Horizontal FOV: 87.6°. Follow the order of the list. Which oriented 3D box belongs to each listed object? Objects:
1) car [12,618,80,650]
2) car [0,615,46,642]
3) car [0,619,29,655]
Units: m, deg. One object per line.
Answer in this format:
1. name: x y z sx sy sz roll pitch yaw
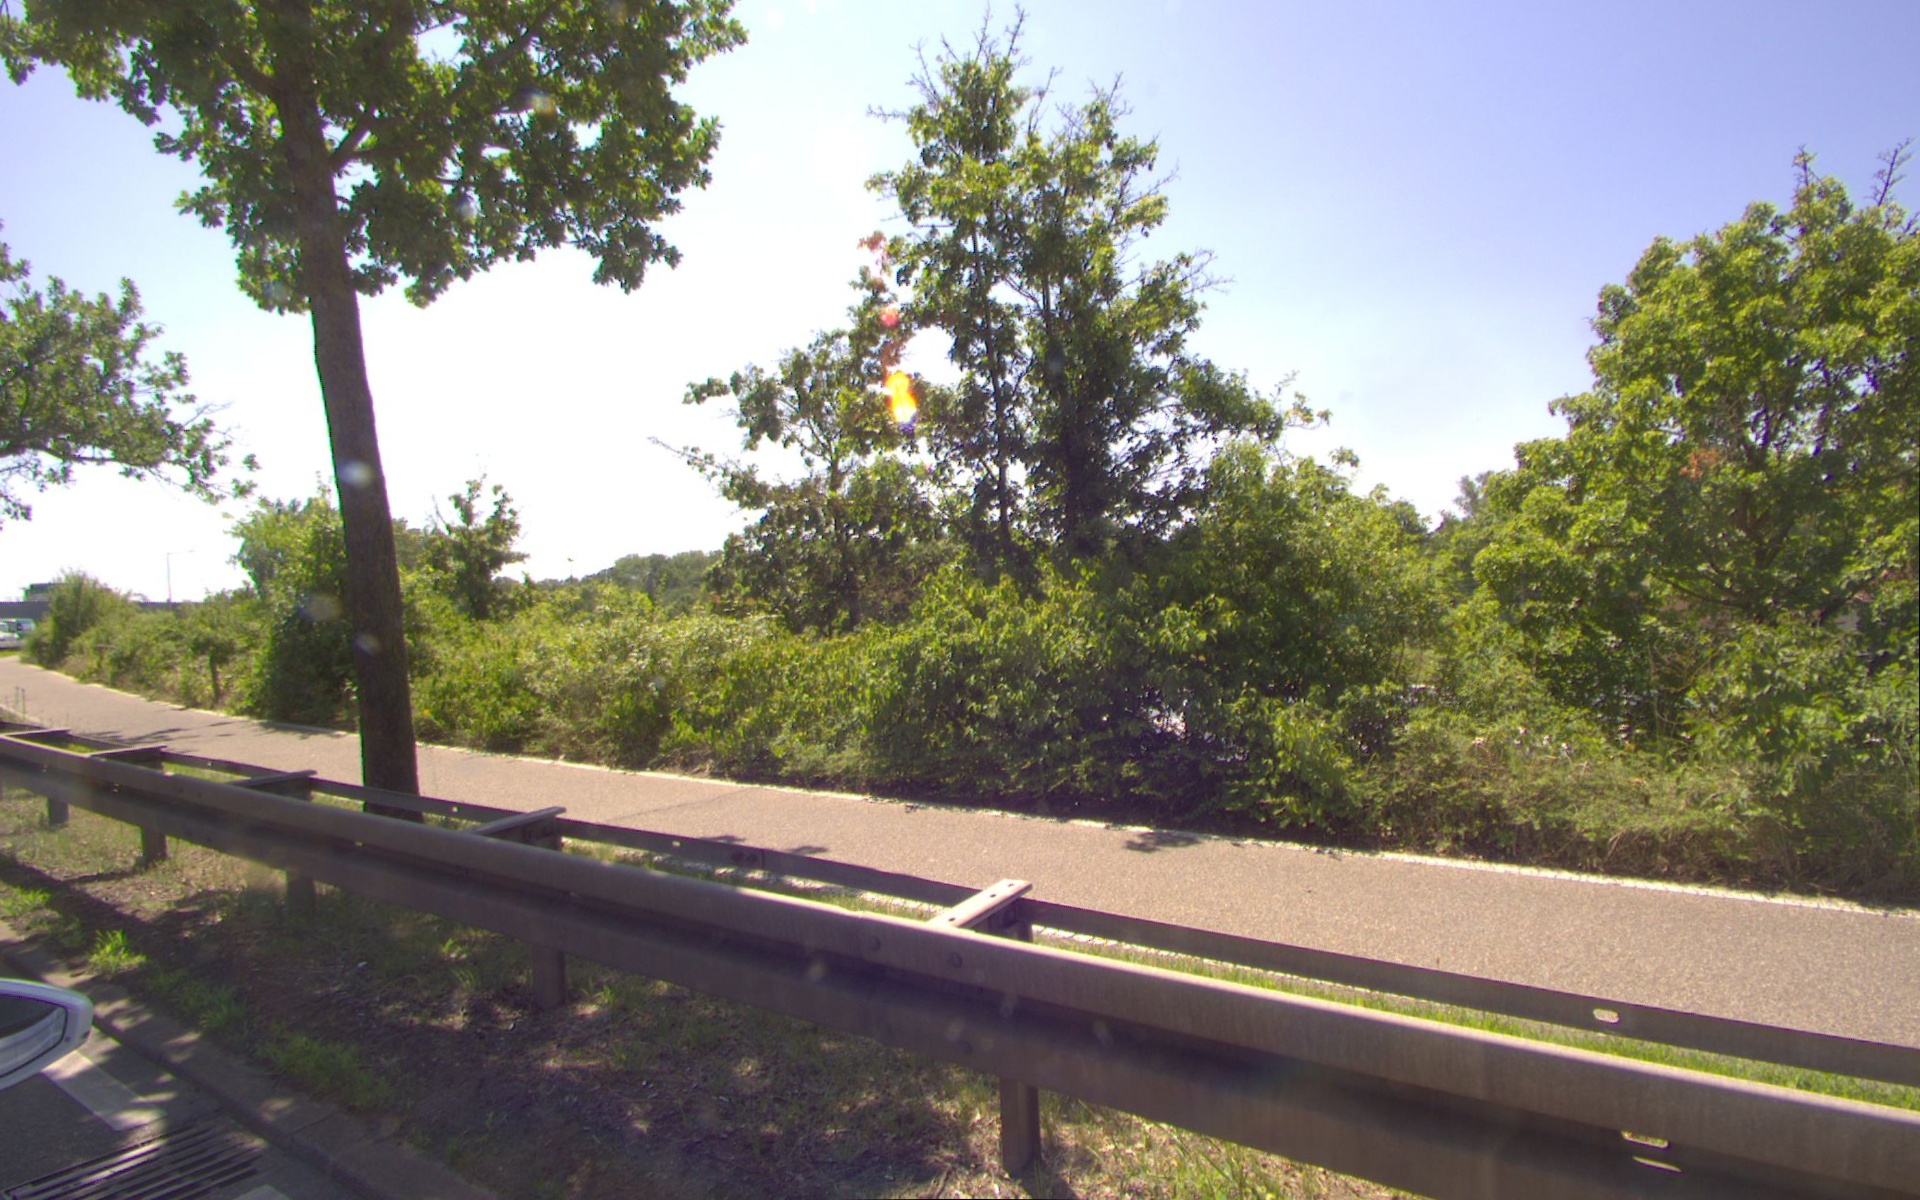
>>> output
1. car: -55.743 2.063 61.153 1.971 1.831 4.822 1 -2 -29
2. car: -60.444 1.818 63.692 2.103 1.702 4.862 1 -2 -26
3. car: -48.196 1.852 49.818 1.973 1.734 4.593 1 -2 -33
